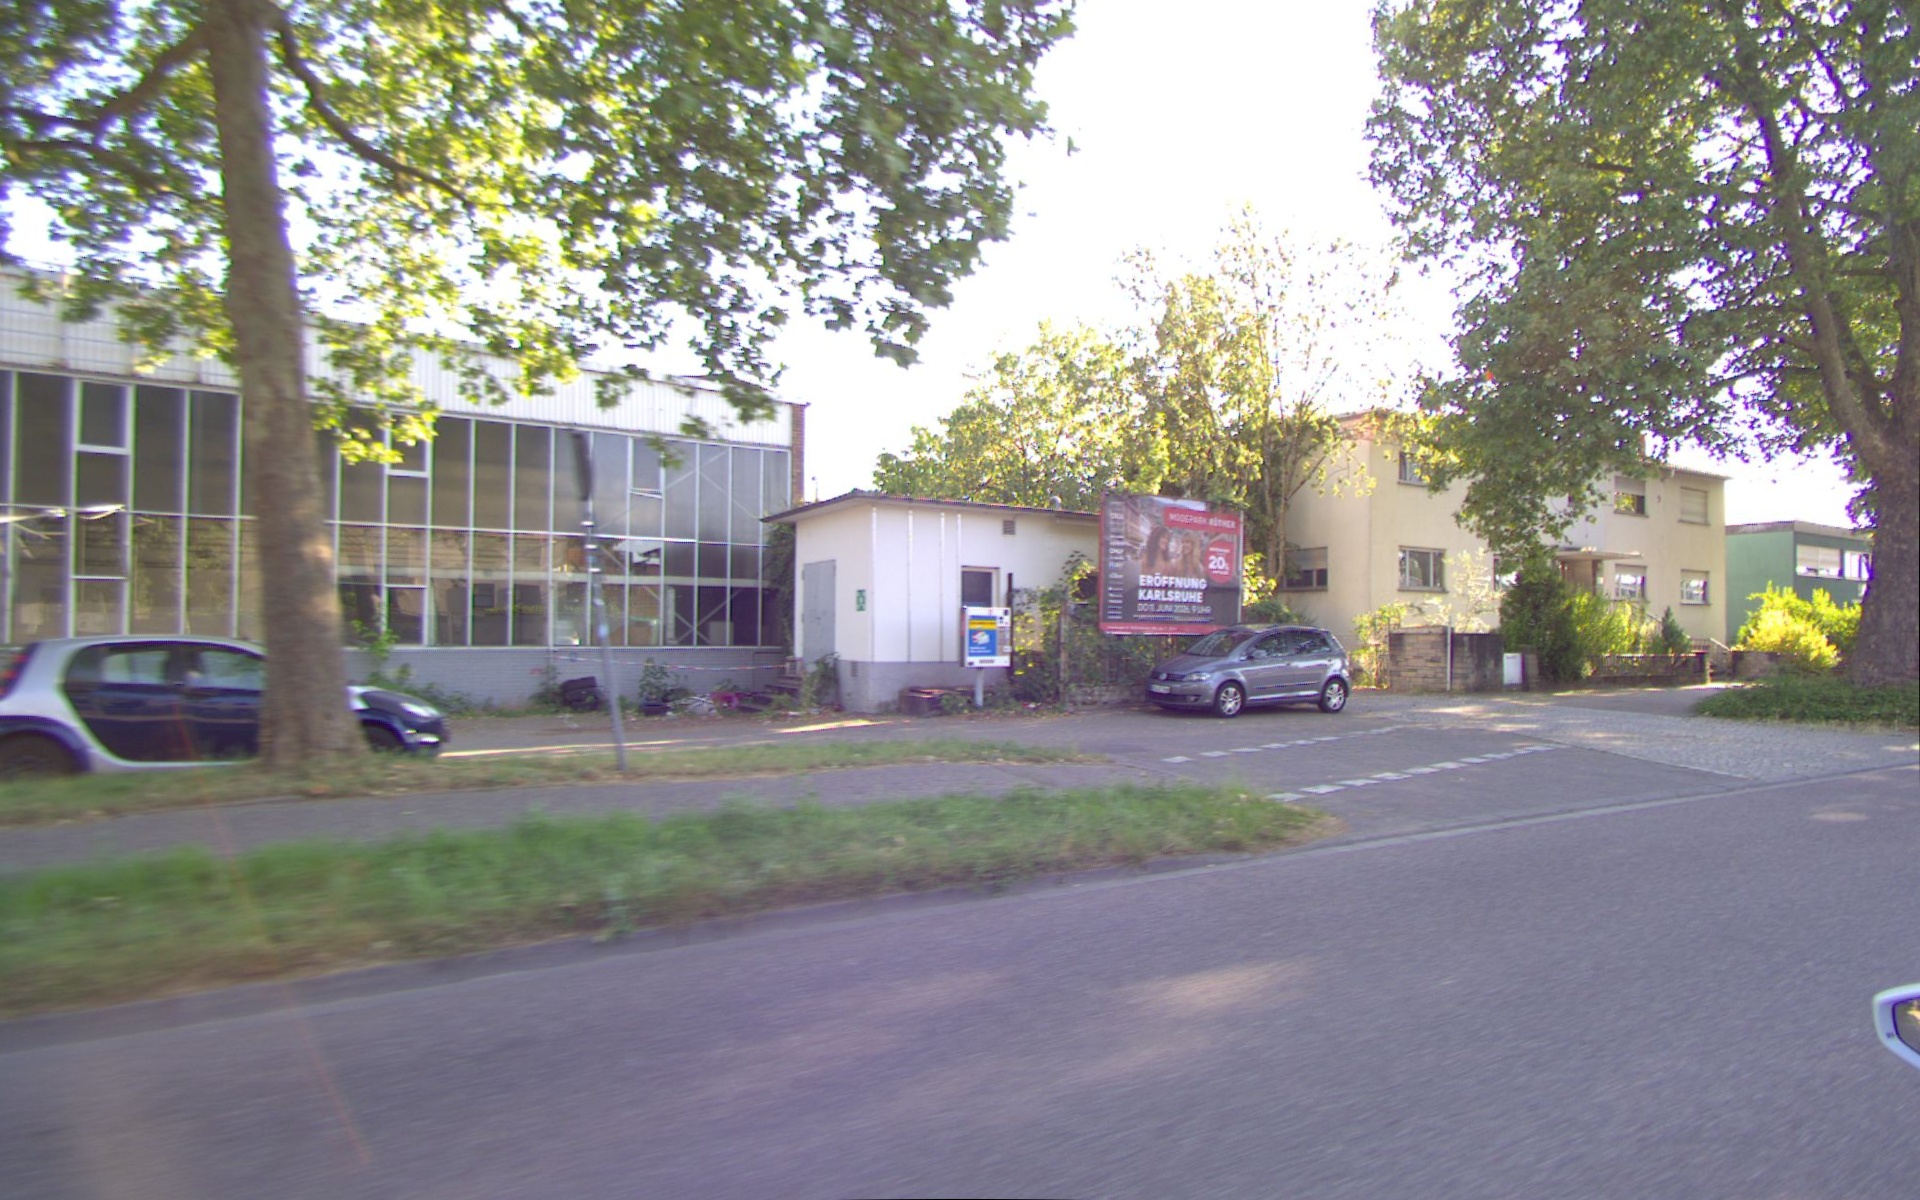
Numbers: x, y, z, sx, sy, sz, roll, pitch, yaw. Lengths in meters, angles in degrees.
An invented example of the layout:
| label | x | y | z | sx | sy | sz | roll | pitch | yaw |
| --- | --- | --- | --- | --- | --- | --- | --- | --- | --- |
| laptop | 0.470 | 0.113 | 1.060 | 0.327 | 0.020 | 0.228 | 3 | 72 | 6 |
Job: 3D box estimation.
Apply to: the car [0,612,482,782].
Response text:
| label | x | y | z | sx | sy | sz | roll | pitch | yaw |
| --- | --- | --- | --- | --- | --- | --- | --- | --- | --- |
| car | -7.041 | 0.935 | 9.982 | 3.881 | 1.387 | 1.982 | 2 | -7 | -35 |

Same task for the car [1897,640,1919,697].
| label | x | y | z | sx | sy | sz | roll | pitch | yaw |
| --- | --- | --- | --- | --- | --- | --- | --- | --- | --- |
| car | 26.505 | 1.739 | 24.987 | 1.978 | 1.441 | 4.330 | 1 | -2 | -32 |

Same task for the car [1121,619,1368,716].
| label | x | y | z | sx | sy | sz | roll | pitch | yaw |
| --- | --- | --- | --- | --- | --- | --- | --- | --- | --- |
| car | 5.268 | 1.187 | 18.514 | 4.221 | 1.597 | 1.985 | 2 | -1 | -29 |
